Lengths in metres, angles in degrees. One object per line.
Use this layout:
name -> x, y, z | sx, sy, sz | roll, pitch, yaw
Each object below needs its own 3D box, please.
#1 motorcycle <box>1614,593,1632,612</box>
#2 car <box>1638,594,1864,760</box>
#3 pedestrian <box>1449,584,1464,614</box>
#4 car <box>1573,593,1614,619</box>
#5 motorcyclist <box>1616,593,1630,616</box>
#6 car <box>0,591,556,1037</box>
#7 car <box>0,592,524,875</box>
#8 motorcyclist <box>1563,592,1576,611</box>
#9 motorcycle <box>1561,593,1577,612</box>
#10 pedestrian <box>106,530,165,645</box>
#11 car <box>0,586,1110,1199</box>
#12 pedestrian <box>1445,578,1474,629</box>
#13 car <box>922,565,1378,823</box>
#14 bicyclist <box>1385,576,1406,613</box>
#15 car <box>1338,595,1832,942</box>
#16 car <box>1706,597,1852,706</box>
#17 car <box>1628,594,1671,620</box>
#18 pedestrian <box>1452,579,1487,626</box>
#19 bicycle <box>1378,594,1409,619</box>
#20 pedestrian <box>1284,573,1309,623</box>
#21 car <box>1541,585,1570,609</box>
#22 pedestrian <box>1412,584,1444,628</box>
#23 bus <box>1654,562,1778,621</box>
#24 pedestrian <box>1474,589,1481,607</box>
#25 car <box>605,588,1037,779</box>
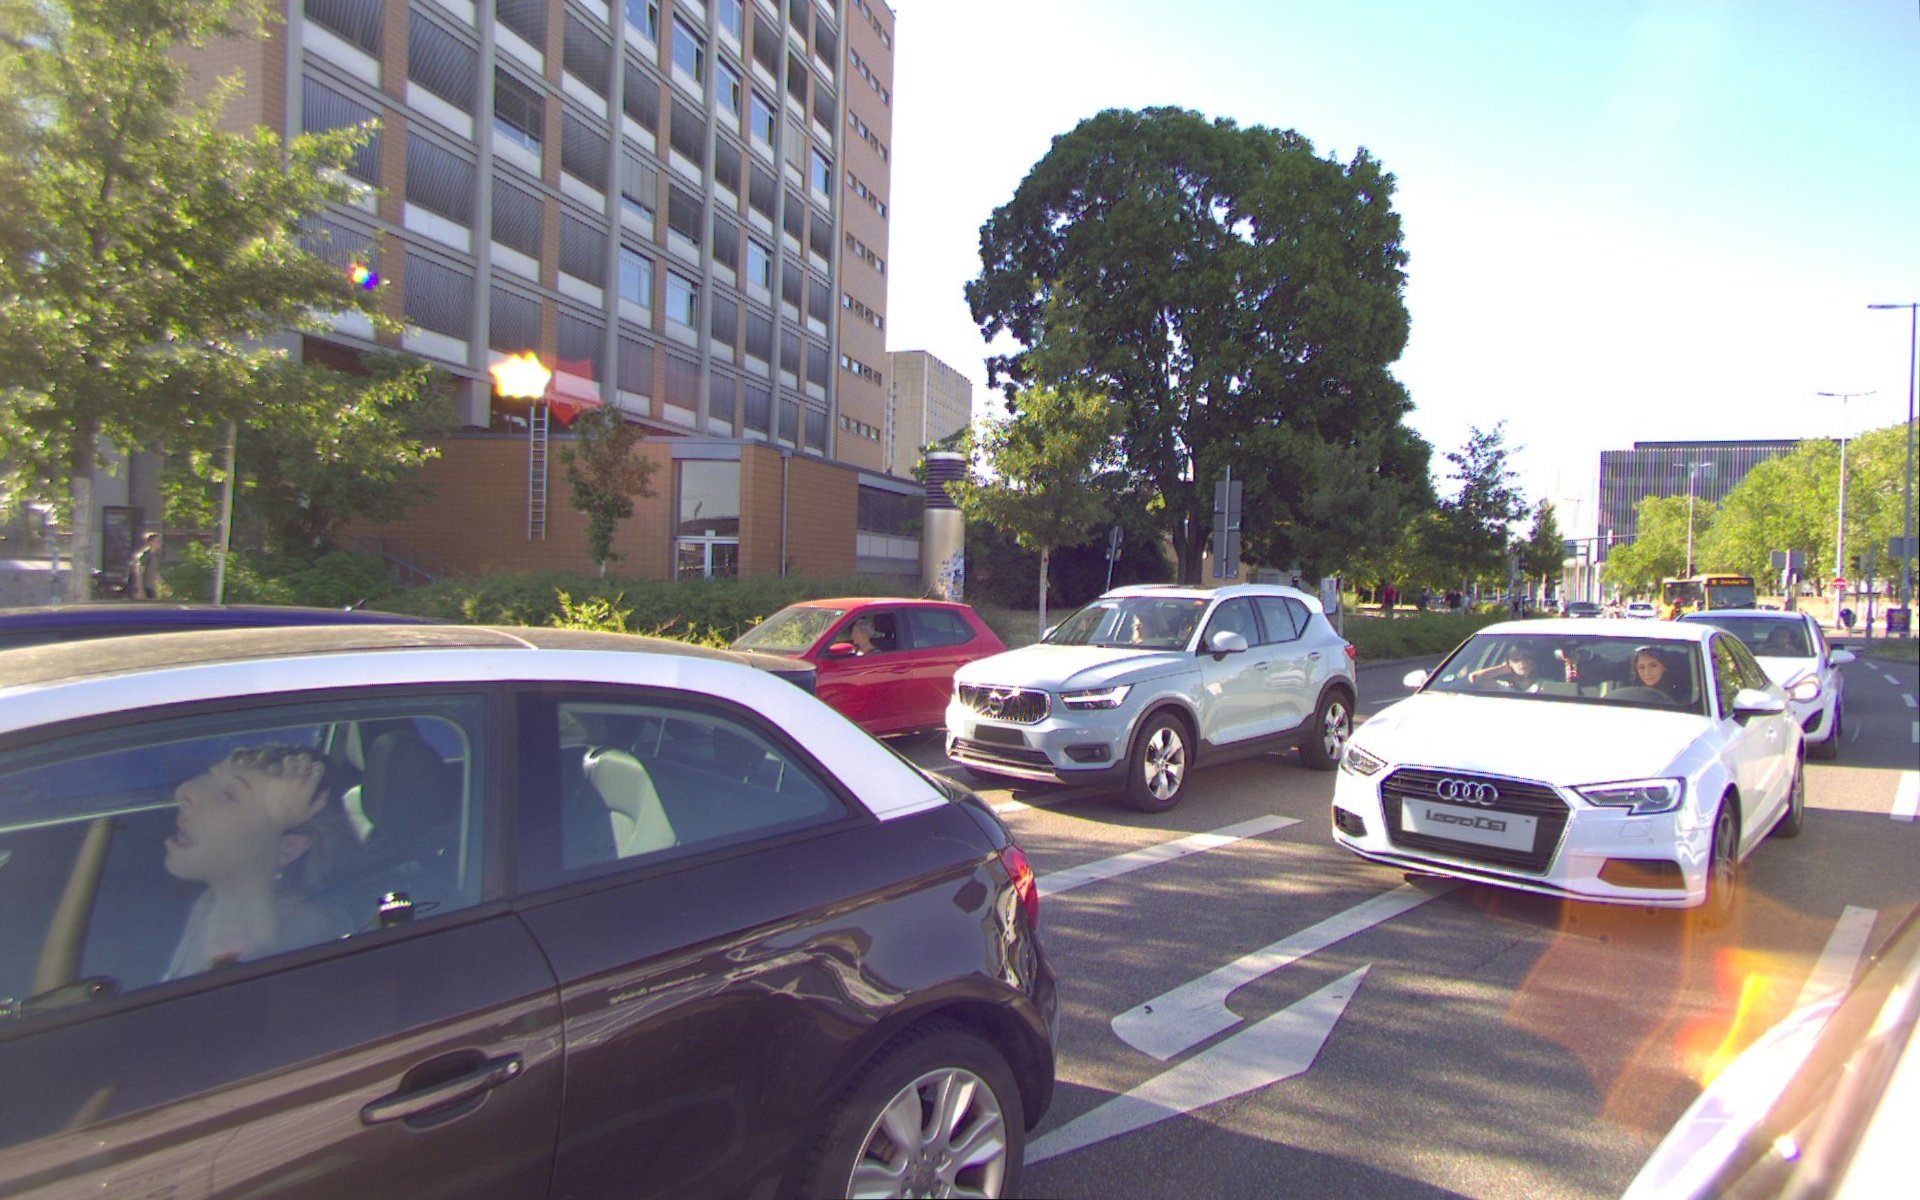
motorcycle -> 46.171, 0.167, 70.505 | 0.711, 1.321, 2.215 | 0, 0, 26
car -> 8.873, 0.691, 11.221 | 1.623, 1.478, 3.979 | 0, 1, 43
pedestrian -> 34.786, -0.071, 70.872 | 0.846, 2.039, 0.824 | 0, 0, 34
car -> 38.132, 0.333, 61.021 | 1.740, 1.478, 4.149 | 0, 0, 27
motorcyclist -> 46.069, 0.313, 70.305 | 0.704, 1.610, 0.684 | 0, 0, 27
car -> -3.761, 0.687, 3.718 | 3.930, 1.422, 1.626 | -1, 0, -41
car -> -5.170, 0.673, 6.026 | 4.435, 1.422, 1.725 | -1, 1, -43
motorcyclist -> 43.477, 0.085, 72.215 | 0.711, 1.321, 0.729 | 0, 0, 27
motorcycle -> 43.473, 0.160, 72.213 | 0.710, 1.321, 2.216 | 0, 0, 25
pedestrian -> -13.972, -0.217, 17.162 | 0.681, 1.910, 0.465 | 0, 0, -24
car -> -1.669, 0.696, 1.630 | 3.930, 1.422, 1.626 | -1, 0, -41
pedestrian -> 20.243, 0.142, 41.036 | 0.891, 2.039, 0.870 | 0, 0, 39
car -> 1.774, 0.571, 8.456 | 4.153, 1.641, 1.625 | -1, 0, -43
bicyclist -> 18.676, -0.232, 43.405 | 0.615, 1.580, 0.858 | 0, 0, 41
car -> 3.945, 0.692, 6.116 | 3.769, 1.422, 1.625 | -1, 0, -43
car -> 13.112, 0.713, 16.116 | 1.622, 1.478, 3.981 | 0, 0, 42
car -> 41.666, 0.412, 61.220 | 1.741, 1.478, 4.146 | 0, 0, 29
pedestrian -> 22.337, 0.100, 44.395 | 1.137, 2.039, 1.268 | 0, 0, 39
bicycle -> 18.583, 0.274, 43.370 | 0.657, 0.975, 2.005 | 2, 2, 41
pedestrian -> 10.806, -0.067, 32.513 | 0.593, 1.615, 0.586 | 0, 0, 41
car -> 46.770, -0.258, 79.529 | 1.730, 1.727, 3.962 | 2, 1, 27
pedestrian -> 19.048, 0.229, 41.152 | 1.005, 1.742, 0.873 | 0, 0, 39
bus -> 46.344, -0.528, 62.552 | 3.051, 3.252, 12.451 | 0, 1, 22
pedestrian -> 49.943, -0.156, 97.637 | 0.475, 1.706, 0.399 | 1, 1, -41
car -> -1.192, 0.632, 9.841 | 3.974, 1.478, 1.625 | -1, 0, -43
